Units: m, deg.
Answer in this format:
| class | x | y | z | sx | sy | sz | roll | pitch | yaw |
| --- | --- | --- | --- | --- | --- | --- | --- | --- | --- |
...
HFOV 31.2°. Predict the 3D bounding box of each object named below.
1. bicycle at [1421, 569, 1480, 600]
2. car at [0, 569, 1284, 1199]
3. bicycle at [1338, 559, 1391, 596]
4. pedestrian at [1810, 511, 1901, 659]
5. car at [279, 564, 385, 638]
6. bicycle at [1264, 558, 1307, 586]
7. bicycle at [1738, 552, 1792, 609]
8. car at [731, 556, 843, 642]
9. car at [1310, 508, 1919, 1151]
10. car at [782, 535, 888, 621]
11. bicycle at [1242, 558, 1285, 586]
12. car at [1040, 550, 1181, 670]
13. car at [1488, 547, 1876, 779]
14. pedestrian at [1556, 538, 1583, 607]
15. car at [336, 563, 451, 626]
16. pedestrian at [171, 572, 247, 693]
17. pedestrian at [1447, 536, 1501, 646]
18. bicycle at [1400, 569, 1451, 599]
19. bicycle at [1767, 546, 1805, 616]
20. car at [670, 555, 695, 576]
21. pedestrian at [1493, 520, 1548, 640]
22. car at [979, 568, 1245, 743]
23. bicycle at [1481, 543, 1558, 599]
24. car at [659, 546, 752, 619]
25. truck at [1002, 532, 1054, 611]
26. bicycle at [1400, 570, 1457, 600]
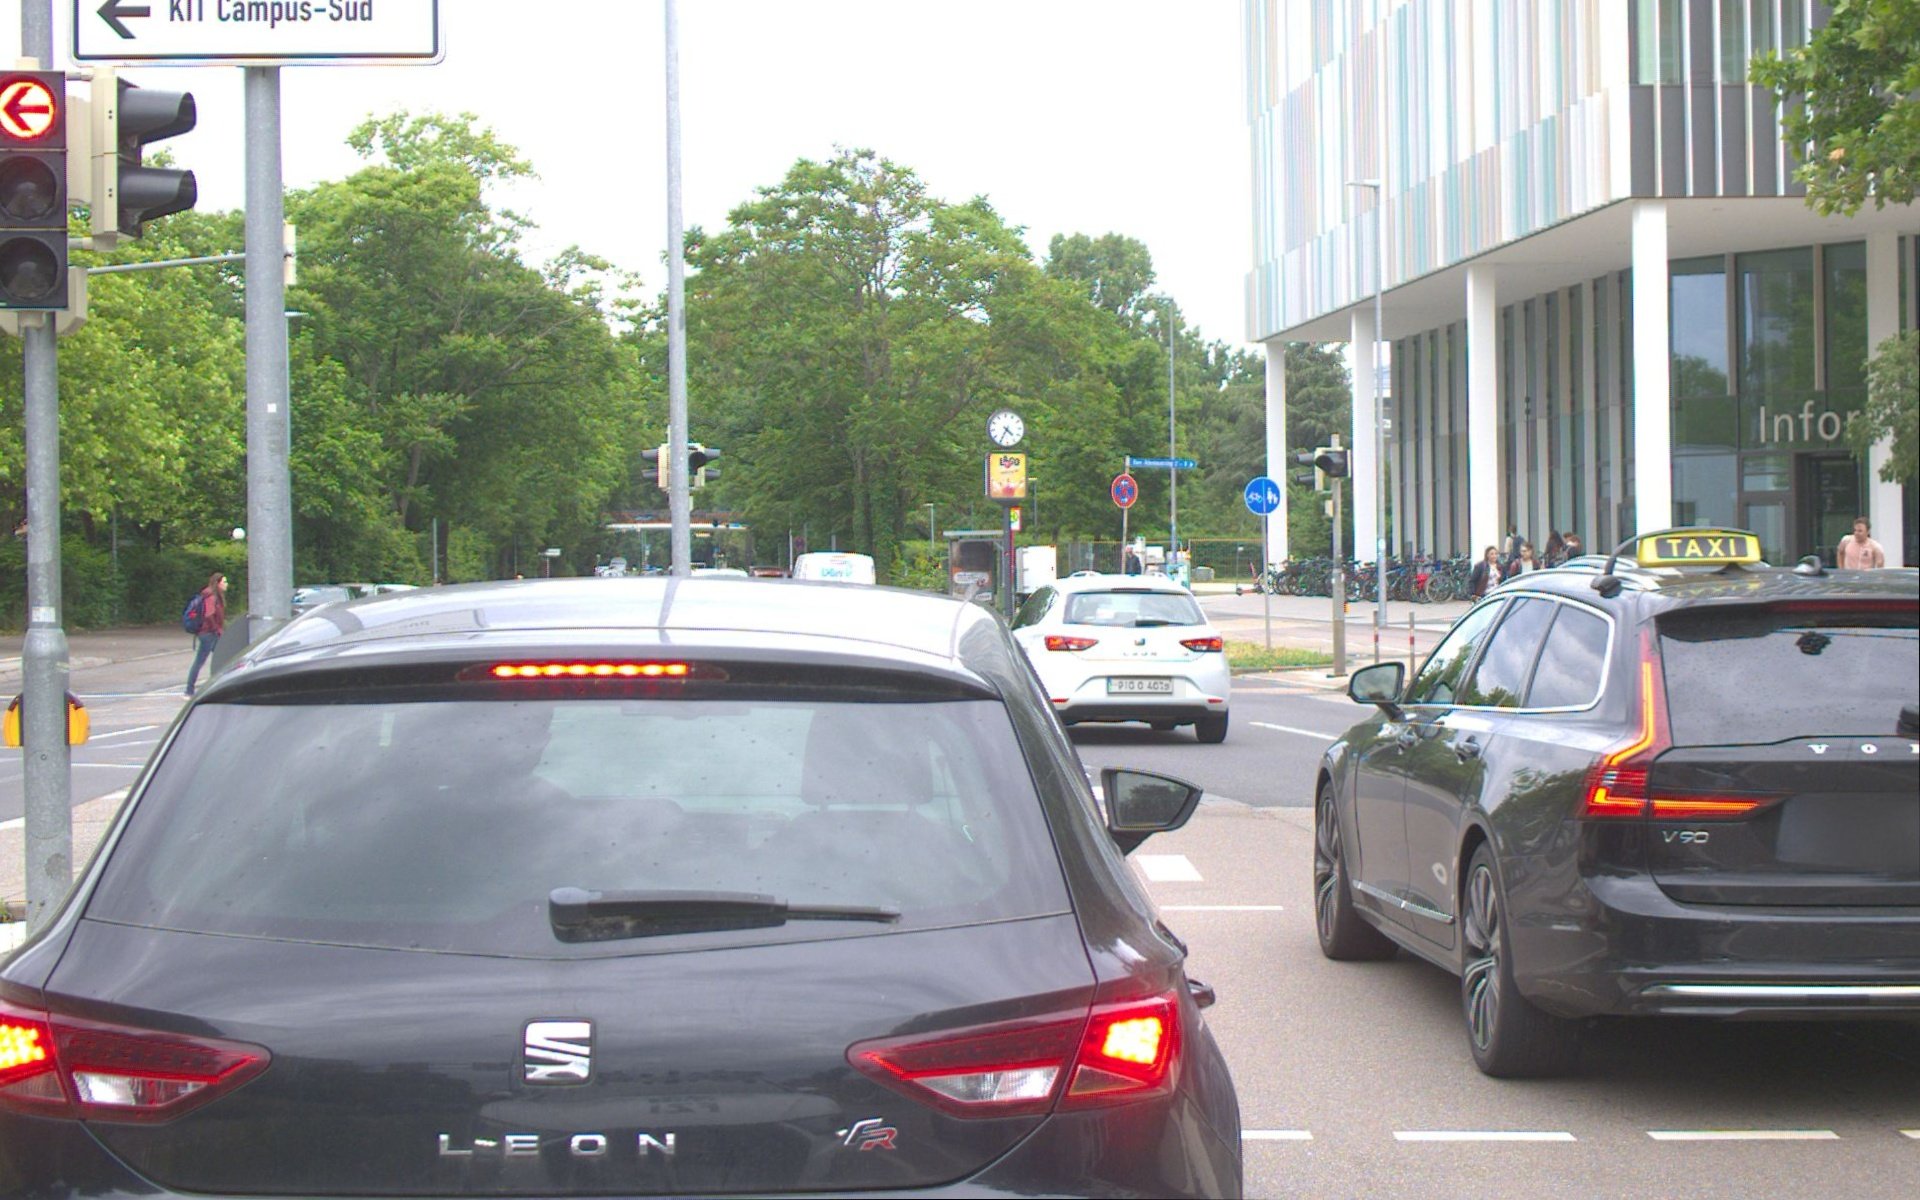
| class | x | y | z | sx | sy | sz | roll | pitch | yaw |
| --- | --- | --- | --- | --- | --- | --- | --- | --- | --- |
| bicycle | 12.008 | -0.375 | 84.195 | 1.374 | 0.703 | 0.416 | -2 | 1 | 2 |
| car | -0.461 | 0.688 | 5.778 | 1.753 | 1.427 | 3.769 | 1 | 1 | 2 |
| bicycle | 10.796 | -0.607 | 91.853 | 1.387 | 0.938 | 0.487 | -1 | 1 | 7 |
| pedestrian | 10.896 | -0.191 | 41.839 | 0.847 | 1.759 | 0.768 | -2 | 1 | -1 |
| car | -15.738 | 0.002 | 86.316 | 1.906 | 1.711 | 4.000 | -2 | 1 | -1 |
| bicycle | 10.126 | -0.874 | 106.861 | 1.234 | 0.820 | 0.482 | 1 | 0 | -22 |
| bicycle | 15.734 | -0.378 | 67.185 | 0.620 | 1.042 | 1.703 | -2 | 1 | 26 |
| car | -3.105 | -0.042 | 60.977 | 1.722 | 1.409 | 4.246 | 0 | 1 | -6 |
| car | 2.340 | 0.537 | 10.774 | 1.883 | 1.594 | 4.447 | 0 | 1 | -2 |
| car | -3.052 | -0.556 | 82.902 | 1.966 | 1.965 | 4.345 | 1 | 1 | -10 |
| bicycle | 9.624 | -0.895 | 108.969 | 1.258 | 0.845 | 0.482 | 2 | 0 | -22 |
| car | 2.036 | 0.145 | 47.390 | 1.825 | 1.545 | 4.527 | 1 | 0 | 2 |
| car | 5.457 | 0.414 | 26.579 | 1.907 | 1.619 | 4.491 | 1 | 1 | -2 |
| pedestrian | 12.178 | -0.555 | 68.716 | 0.472 | 1.357 | 0.445 | -2 | 1 | 10 |
| car | -15.787 | -0.157 | 95.919 | 1.759 | 1.582 | 3.998 | -2 | 1 | 12 |
| pedestrian | -10.052 | 0.430 | 46.023 | 0.874 | 1.581 | 0.543 | -2 | 1 | -7 |
| pedestrian | 7.684 | -0.135 | 51.445 | 0.687 | 1.634 | 0.633 | 0 | 1 | -1 |
| bicycle | 11.760 | -0.396 | 86.884 | 1.240 | 0.703 | 0.489 | -2 | 1 | 8 |
| bicycle | 15.468 | -0.368 | 64.392 | 0.526 | 1.248 | 1.664 | -2 | 1 | 18 |
| car | -21.124 | -2.619 | 261.866 | 1.695 | 1.498 | 4.011 | -2 | 1 | -7 |
| pedestrian | 8.376 | -0.309 | 51.391 | 0.687 | 1.775 | 0.677 | -1 | 1 | -1 |
| car | 1.300 | 0.453 | 31.018 | 1.781 | 1.458 | 3.872 | 0 | 1 | -7 |
| bicycle | 12.644 | -0.658 | 77.729 | 1.772 | 1.207 | 0.570 | -3 | 1 | -34 |
| car | -5.751 | -0.413 | 77.359 | 1.729 | 1.597 | 4.107 | 0 | 1 | -9 |
| truck | 1.992 | -0.871 | 101.570 | 1.317 | 2.235 | 3.402 | -2 | 1 | -1 |
| bicycle | 11.722 | -0.376 | 85.992 | 1.375 | 0.703 | 0.489 | -2 | 1 | 8 |
